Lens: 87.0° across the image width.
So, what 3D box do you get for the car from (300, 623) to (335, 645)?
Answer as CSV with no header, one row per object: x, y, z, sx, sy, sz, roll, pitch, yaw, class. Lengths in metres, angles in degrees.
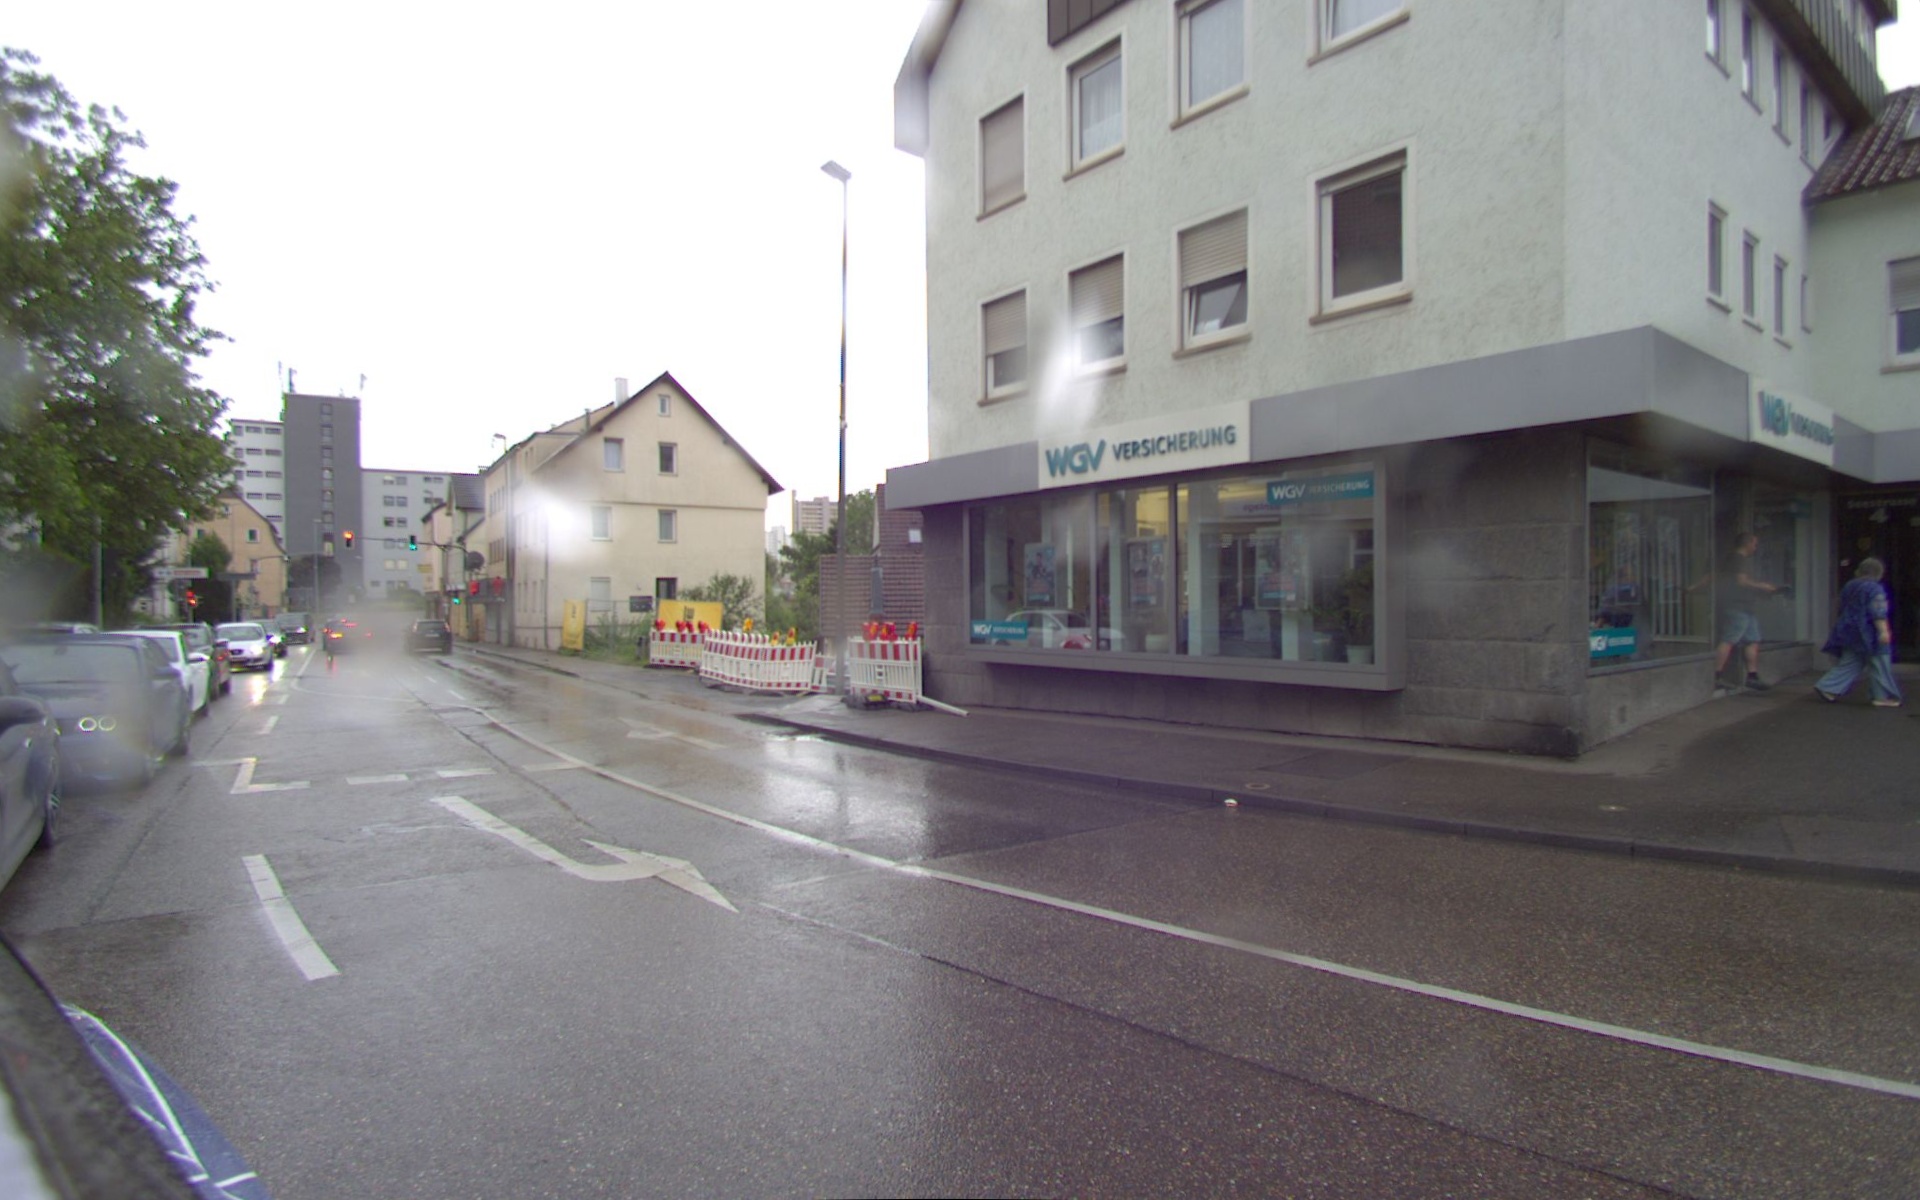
-49.264,2.615,77.613,1.967,1.564,4.009,-1,-1,-37,car

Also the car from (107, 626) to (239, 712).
-16.594,1.373,21.522,1.784,1.577,4.011,-1,-1,-32,car

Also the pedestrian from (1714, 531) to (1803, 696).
9.198,0.149,11.659,0.608,1.833,0.673,-2,0,-44,pedestrian

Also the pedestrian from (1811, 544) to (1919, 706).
9.877,0.261,10.989,0.608,1.684,0.864,-2,0,-44,pedestrian

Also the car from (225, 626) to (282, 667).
-30.120,1.969,43.228,1.803,1.563,4.011,-3,0,-33,car

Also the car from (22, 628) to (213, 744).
-13.064,1.226,15.942,1.967,1.464,4.010,-2,0,-35,car

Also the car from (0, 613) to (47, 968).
-5.835,0.856,4.858,1.969,1.504,4.321,-1,-1,-40,car

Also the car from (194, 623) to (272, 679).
-23.440,1.585,32.737,1.815,1.633,4.011,-1,-1,-33,car

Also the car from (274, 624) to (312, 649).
-41.429,2.246,62.800,1.824,1.489,4.010,-1,-1,-35,car

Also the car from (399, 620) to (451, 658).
-24.326,1.741,45.992,1.784,1.577,4.011,-1,-1,-32,car

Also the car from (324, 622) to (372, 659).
-28.005,1.822,46.265,1.784,1.577,4.011,-1,-1,-33,car

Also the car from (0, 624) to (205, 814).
-9.009,1.044,10.326,1.745,1.544,4.390,-1,-1,-32,car
